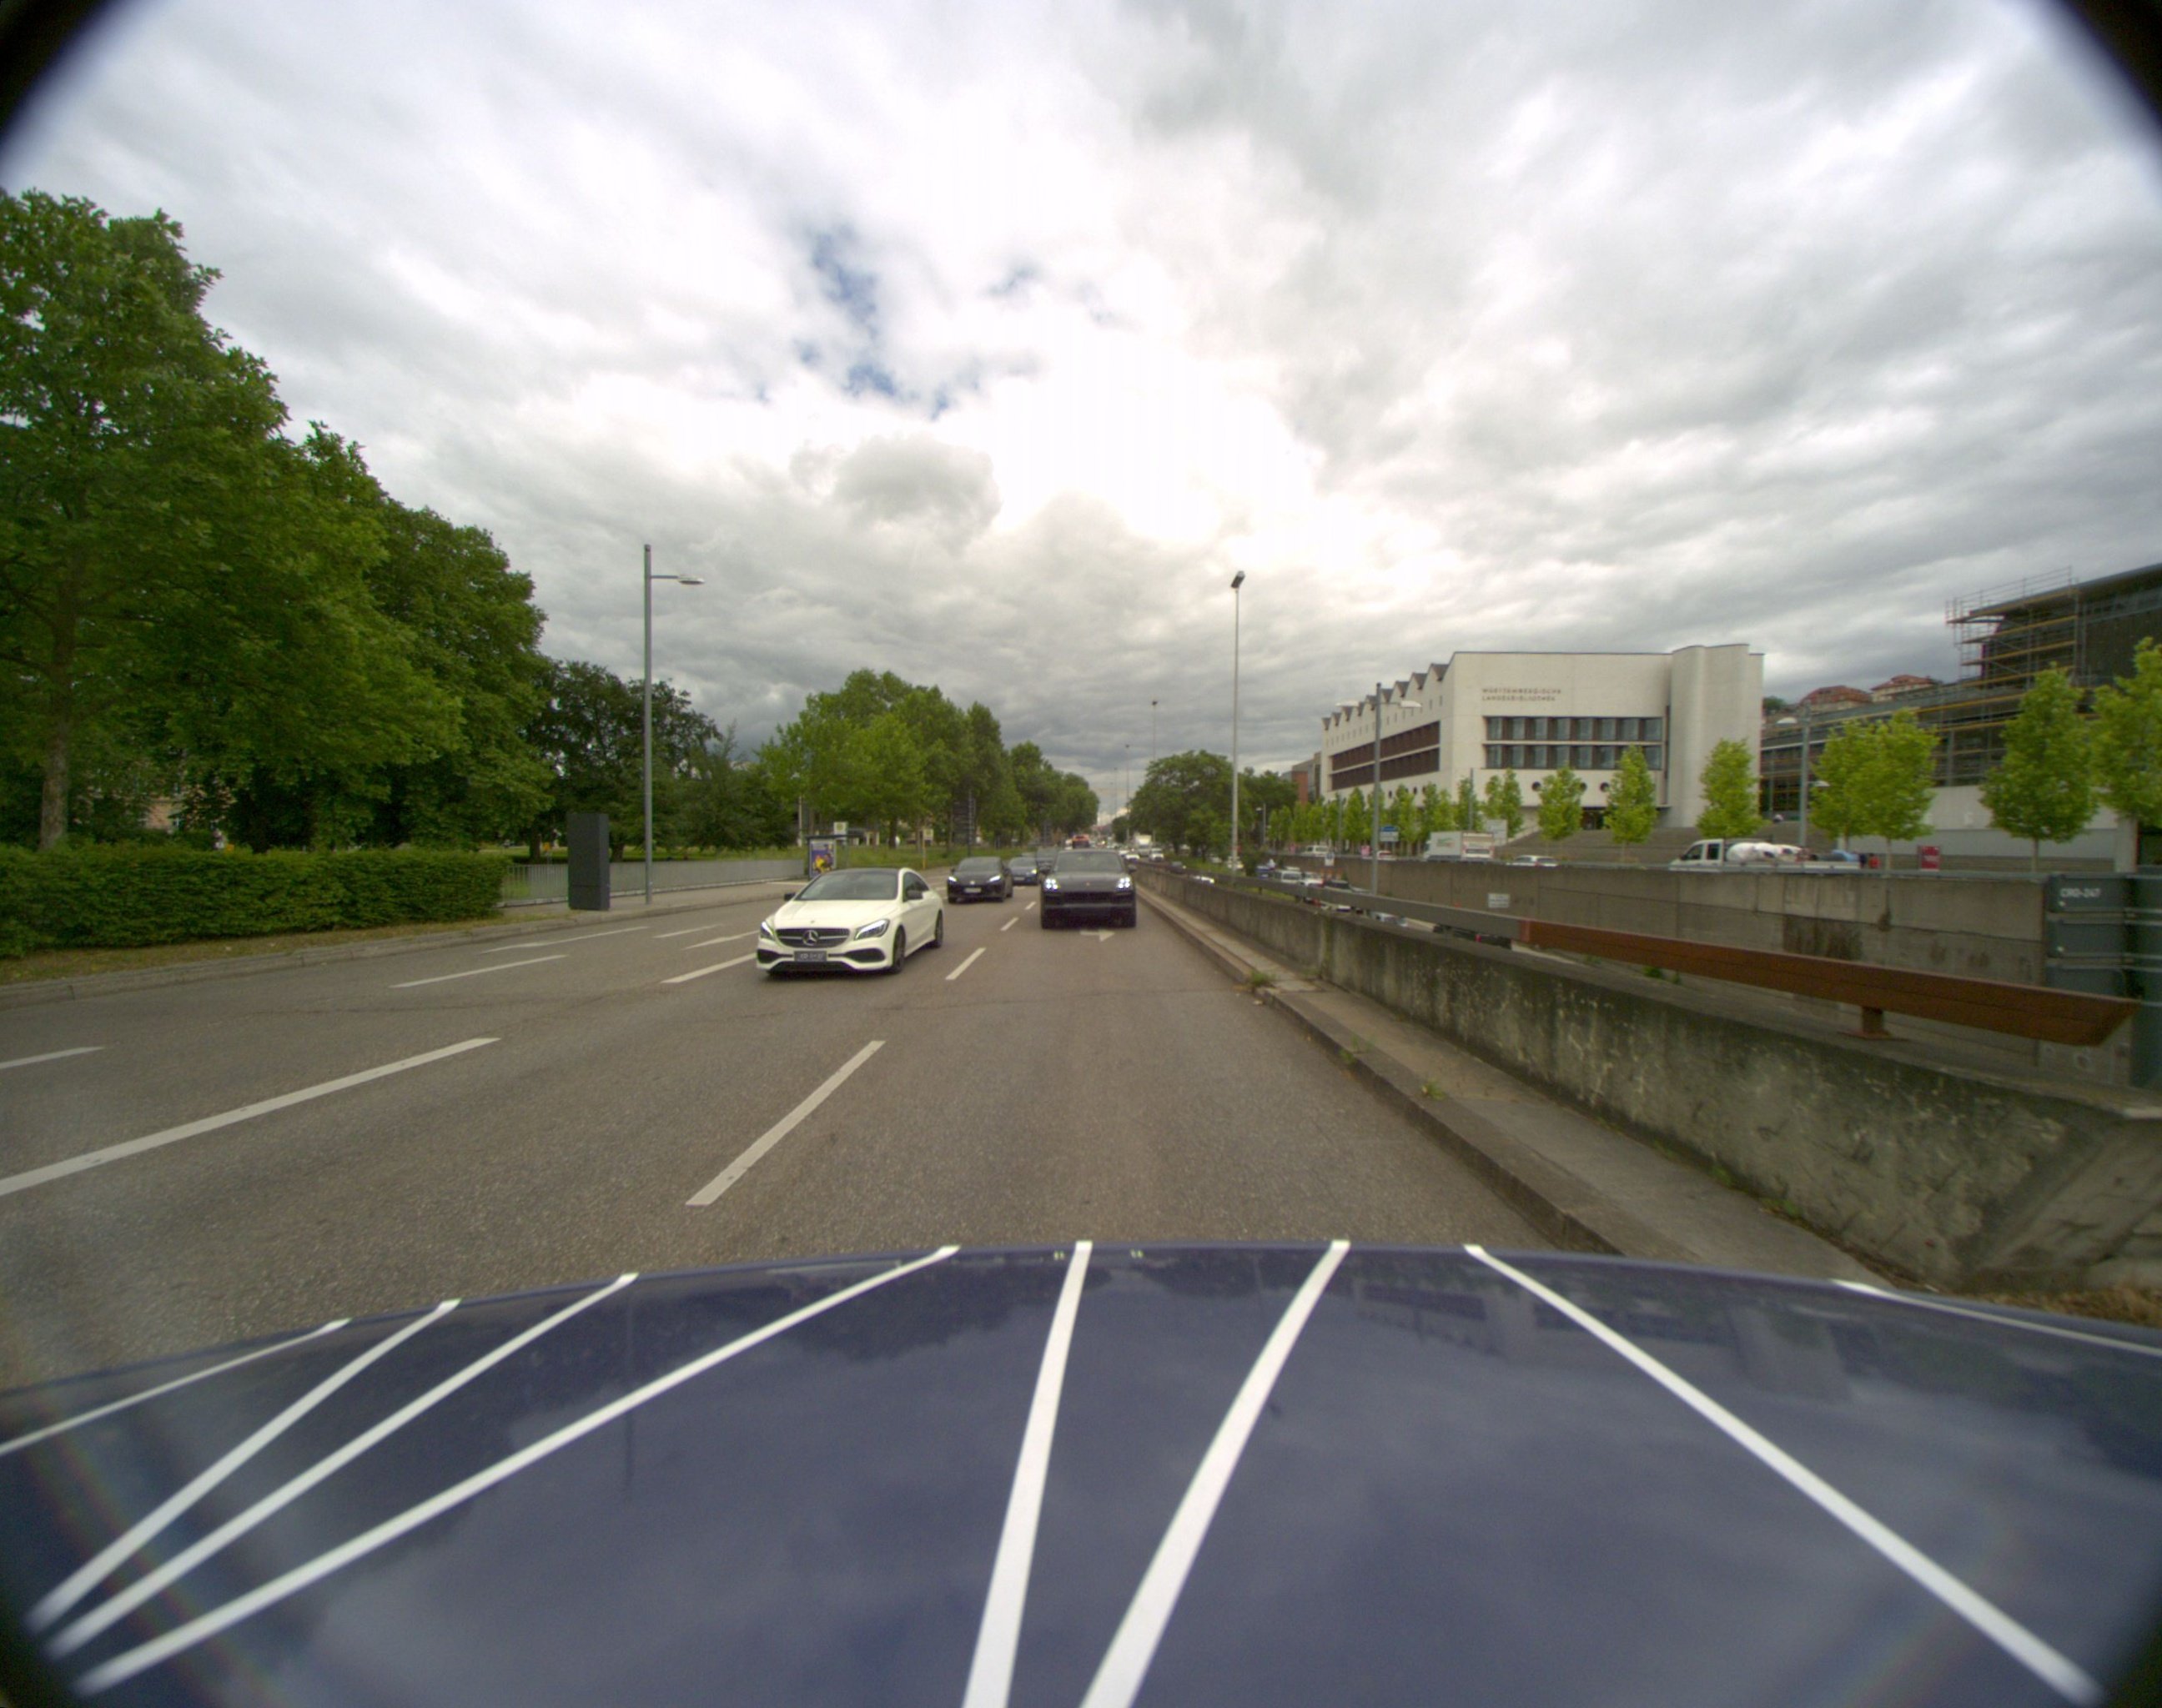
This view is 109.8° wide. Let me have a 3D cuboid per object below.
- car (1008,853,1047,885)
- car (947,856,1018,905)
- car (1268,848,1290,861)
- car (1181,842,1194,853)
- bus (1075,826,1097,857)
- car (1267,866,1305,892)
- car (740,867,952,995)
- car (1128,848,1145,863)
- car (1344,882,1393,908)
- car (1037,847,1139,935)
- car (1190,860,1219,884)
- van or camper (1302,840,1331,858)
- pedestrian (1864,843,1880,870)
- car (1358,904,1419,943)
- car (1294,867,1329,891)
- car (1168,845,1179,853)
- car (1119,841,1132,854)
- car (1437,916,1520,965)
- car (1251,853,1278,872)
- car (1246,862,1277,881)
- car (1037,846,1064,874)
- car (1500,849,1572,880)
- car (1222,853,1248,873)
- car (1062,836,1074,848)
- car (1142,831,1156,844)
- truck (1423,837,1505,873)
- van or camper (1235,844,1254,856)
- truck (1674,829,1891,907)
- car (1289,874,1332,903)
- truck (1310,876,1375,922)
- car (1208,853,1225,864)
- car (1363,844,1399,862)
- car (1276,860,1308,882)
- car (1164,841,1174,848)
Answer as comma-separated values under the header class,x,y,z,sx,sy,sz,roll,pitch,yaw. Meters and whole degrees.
class,x,y,z,sx,sy,sz,roll,pitch,yaw
car,-2.700,0.736,39.268,1.573,1.528,4.001,-1,1,2
car,-3.281,0.830,26.046,1.830,1.515,4.119,-1,0,1
car,27.728,0.034,106.453,1.998,1.805,4.000,-1,0,1
car,20.598,-1.213,147.335,1.998,2.002,3.999,-2,1,0
bus,0.605,-1.838,111.481,3.043,4.327,8.748,-1,1,0
car,17.547,2.074,65.142,1.998,2.002,4.332,3,0,1
car,-3.249,0.977,11.513,1.723,1.415,4.505,-1,1,1
car,7.659,0.162,104.887,1.998,2.002,4.000,0,0,0
car,20.795,2.930,55.107,1.998,1.543,3.999,-2,1,0
car,0.152,0.699,17.011,1.937,1.668,4.679,-1,0,1
car,11.343,1.661,70.177,1.998,2.002,3.999,1,2,1
van or camper,27.075,-0.528,87.445,1.998,2.002,4.557,-1,0,1
pedestrian,44.309,0.136,42.561,0.381,1.513,0.461,-2,1,-6
car,17.341,3.900,43.046,1.794,1.805,3.927,-1,0,0
car,21.157,2.257,69.861,1.998,2.002,4.000,3,0,1
car,16.682,-0.868,136.947,1.675,1.477,3.361,-1,0,1
car,7.250,-1.093,124.390,1.998,2.002,4.000,0,0,0
car,20.170,4.353,38.737,1.998,1.944,4.228,-2,1,0
car,20.456,0.950,84.959,1.998,2.002,4.000,3,0,1
car,17.515,1.668,73.865,1.998,1.733,4.281,3,0,1
car,-2.146,0.386,54.744,1.723,1.851,4.430,-1,1,1
car,28.265,0.657,47.374,1.998,1.805,4.258,-1,0,1
car,17.864,0.993,88.306,1.998,2.119,4.852,3,0,1
car,-2.351,-2.157,133.815,1.999,2.002,3.999,-2,1,0
car,11.021,-2.668,123.059,1.997,2.002,4.002,-1,1,9
truck,31.563,0.080,63.064,3.239,2.771,7.254,-1,0,1
van or camper,26.834,-0.620,124.860,1.999,2.002,4.556,-1,0,-1
truck,28.205,0.527,31.096,2.470,2.800,7.079,-1,0,2
car,17.510,2.603,58.121,1.998,2.002,4.000,3,0,1
truck,17.270,2.930,50.531,2.324,2.675,5.979,-1,0,1
car,17.648,0.577,99.228,1.675,1.477,3.361,0,1,1
car,27.751,-0.087,70.365,1.723,1.565,4.271,-1,0,2
car,20.945,1.630,75.676,1.998,2.002,4.000,3,0,1
car,18.506,-1.964,160.306,1.675,1.477,3.361,-1,0,1
